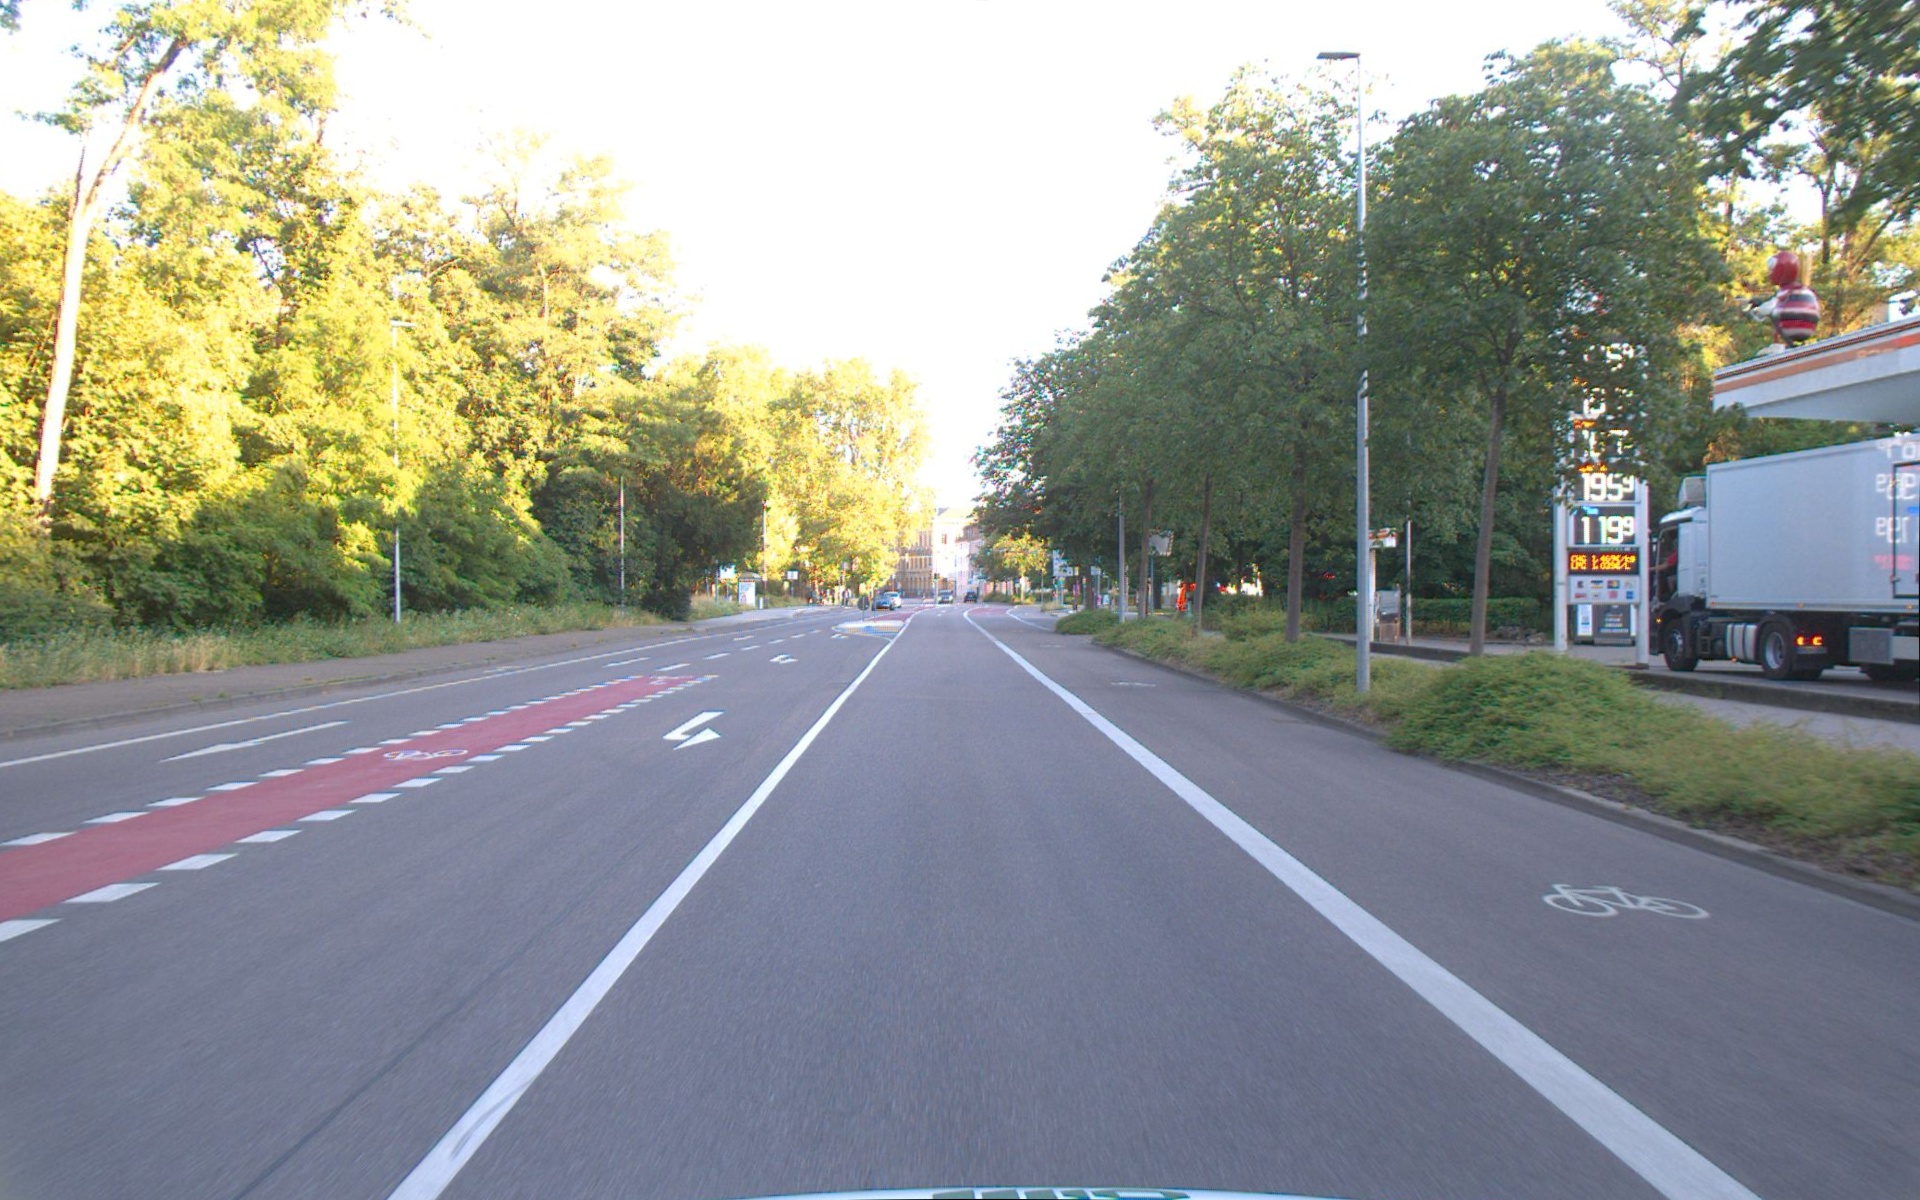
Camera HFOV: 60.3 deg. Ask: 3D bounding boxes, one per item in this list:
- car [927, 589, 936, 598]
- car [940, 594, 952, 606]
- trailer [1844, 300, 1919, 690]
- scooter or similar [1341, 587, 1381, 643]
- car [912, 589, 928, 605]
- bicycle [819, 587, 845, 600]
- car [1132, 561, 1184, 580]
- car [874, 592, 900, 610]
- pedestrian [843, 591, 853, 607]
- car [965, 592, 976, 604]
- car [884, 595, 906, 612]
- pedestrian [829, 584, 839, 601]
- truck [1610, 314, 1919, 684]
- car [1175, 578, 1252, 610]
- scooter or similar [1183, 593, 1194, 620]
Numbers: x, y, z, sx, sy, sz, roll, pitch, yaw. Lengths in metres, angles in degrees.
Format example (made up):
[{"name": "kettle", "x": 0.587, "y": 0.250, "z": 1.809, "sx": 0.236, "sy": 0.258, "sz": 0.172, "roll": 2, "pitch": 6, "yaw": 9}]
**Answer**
[{"name": "car", "x": -4.503, "y": -1.020, "z": 260.284, "sx": 1.462, "sy": 1.512, "sz": 3.490, "roll": 0, "pitch": 0, "yaw": 0}, {"name": "car", "x": -1.753, "y": -0.015, "z": 205.266, "sx": 1.462, "sy": 1.512, "sz": 3.490, "roll": 0, "pitch": 0, "yaw": 0}, {"name": "trailer", "x": 15.293, "y": -1.471, "z": 21.521, "sx": 2.960, "sy": 5.557, "sz": 7.929, "roll": 0, "pitch": 1, "yaw": -4}, {"name": "scooter or similar", "x": 9.561, "y": 0.342, "z": 39.465, "sx": 0.585, "sy": 1.304, "sz": 1.468, "roll": 0, "pitch": 0, "yaw": 0}, {"name": "car", "x": -3.881, "y": -0.296, "z": 159.799, "sx": 1.462, "sy": 1.512, "sz": 3.490, "roll": 0, "pitch": 0, "yaw": 0}, {"name": "bicycle", "x": -12.309, "y": -0.645, "z": 158.987, "sx": 2.410, "sy": 1.216, "sz": 0.757, "roll": 0, "pitch": 0, "yaw": 9}, {"name": "car", "x": 16.975, "y": -2.531, "z": 141.971, "sx": 4.364, "sy": 1.618, "sz": 1.717, "roll": 0, "pitch": 0, "yaw": 7}, {"name": "car", "x": -5.900, "y": 0.062, "z": 134.228, "sx": 1.760, "sy": 1.478, "sz": 4.128, "roll": 0, "pitch": 0, "yaw": 2}, {"name": "pedestrian", "x": -11.253, "y": -0.096, "z": 166.178, "sx": 0.774, "sy": 1.608, "sz": 0.746, "roll": 1, "pitch": 0, "yaw": 8}, {"name": "car", "x": 1.371, "y": -0.271, "z": 225.878, "sx": 1.462, "sy": 1.512, "sz": 3.490, "roll": 0, "pitch": 0, "yaw": 0}, {"name": "car", "x": -5.957, "y": 0.322, "z": 152.666, "sx": 1.760, "sy": 1.478, "sz": 4.128, "roll": 0, "pitch": 0, "yaw": 2}, {"name": "pedestrian", "x": -12.070, "y": -0.758, "z": 158.932, "sx": 0.774, "sy": 1.608, "sz": 0.746, "roll": 1, "pitch": 0, "yaw": 8}, {"name": "truck", "x": 14.804, "y": -1.532, "z": 29.091, "sx": 2.973, "sy": 5.551, "sz": 8.403, "roll": 0, "pitch": 0, "yaw": -4}, {"name": "car", "x": 16.102, "y": -0.366, "z": 105.215, "sx": 4.806, "sy": 2.024, "sz": 1.923, "roll": 0, "pitch": 0, "yaw": 7}, {"name": "scooter or similar", "x": 9.200, "y": 0.249, "z": 66.583, "sx": 0.304, "sy": 1.060, "sz": 0.980, "roll": -1, "pitch": 0, "yaw": 0}]
